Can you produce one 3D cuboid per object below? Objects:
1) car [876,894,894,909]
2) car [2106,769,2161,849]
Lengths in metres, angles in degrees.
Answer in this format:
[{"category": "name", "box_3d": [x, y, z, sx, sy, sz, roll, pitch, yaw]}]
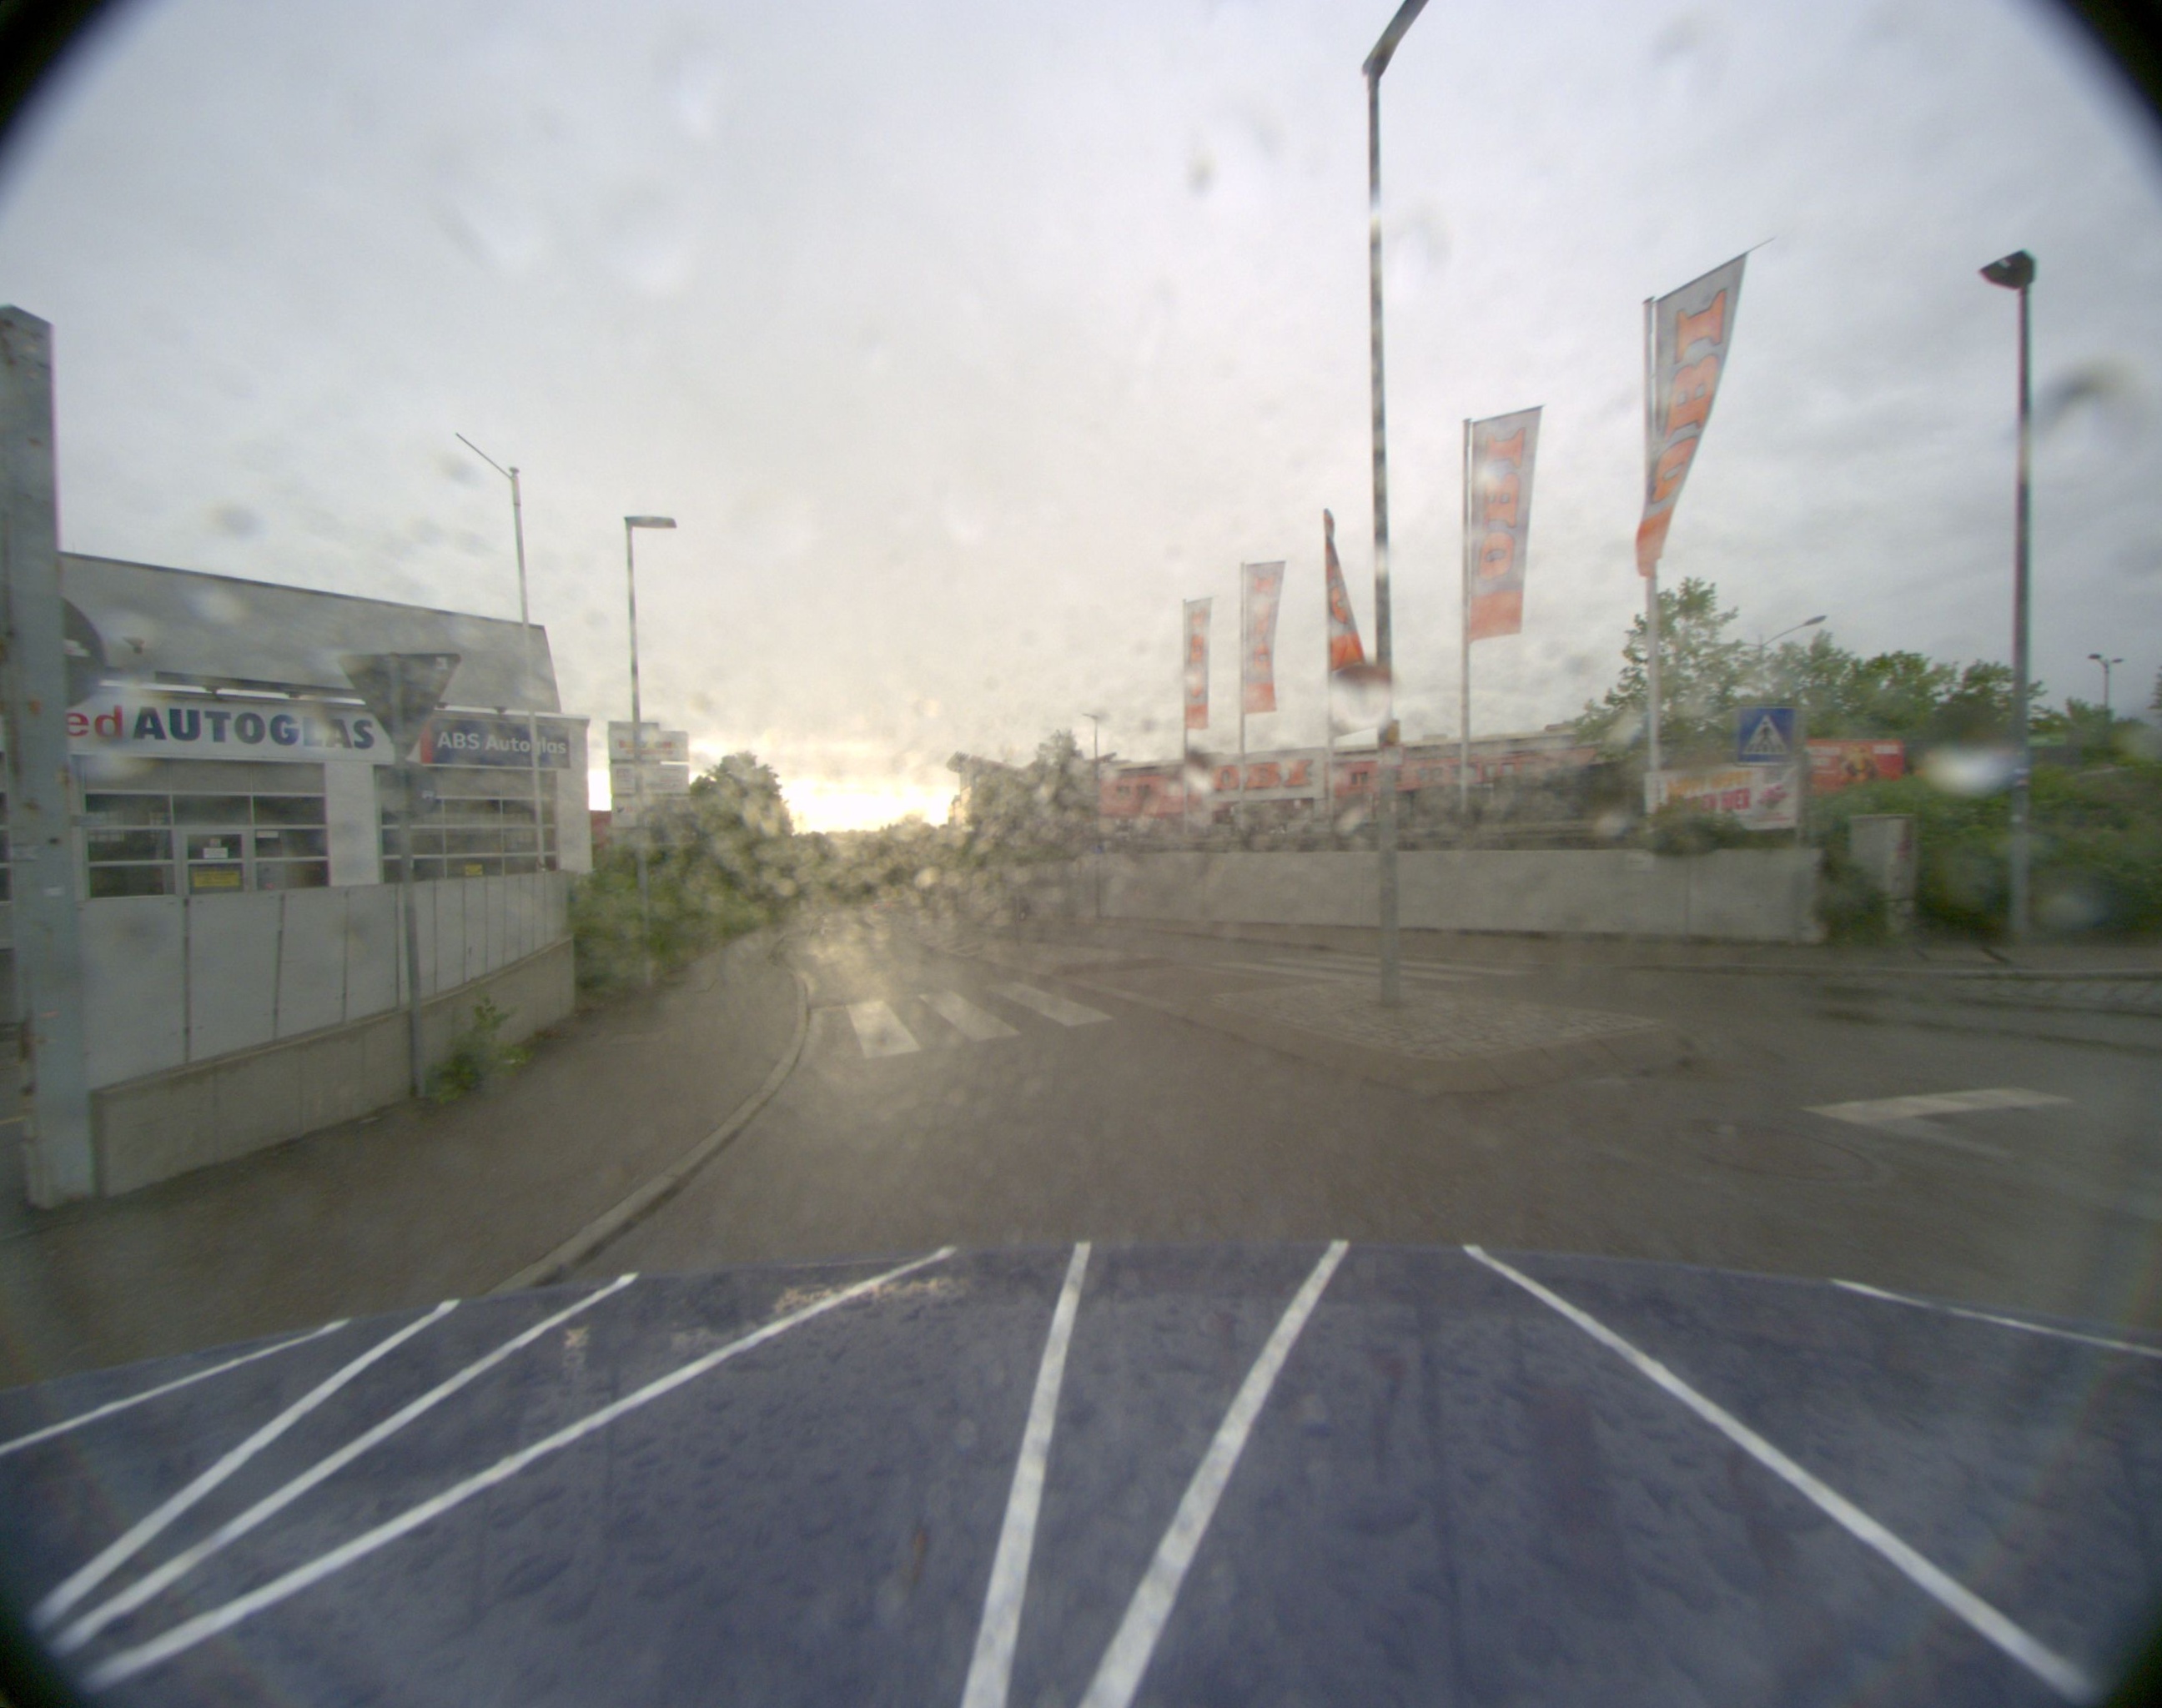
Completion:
[{"category": "car", "box_3d": [-20.869, 5.045, 80.986, 1.811, 1.455, 3.997, -2, -2, -14]}, {"category": "car", "box_3d": [24.582, -1.015, 15.409, 2.002, 1.696, 4.099, -2, 0, -19]}]
